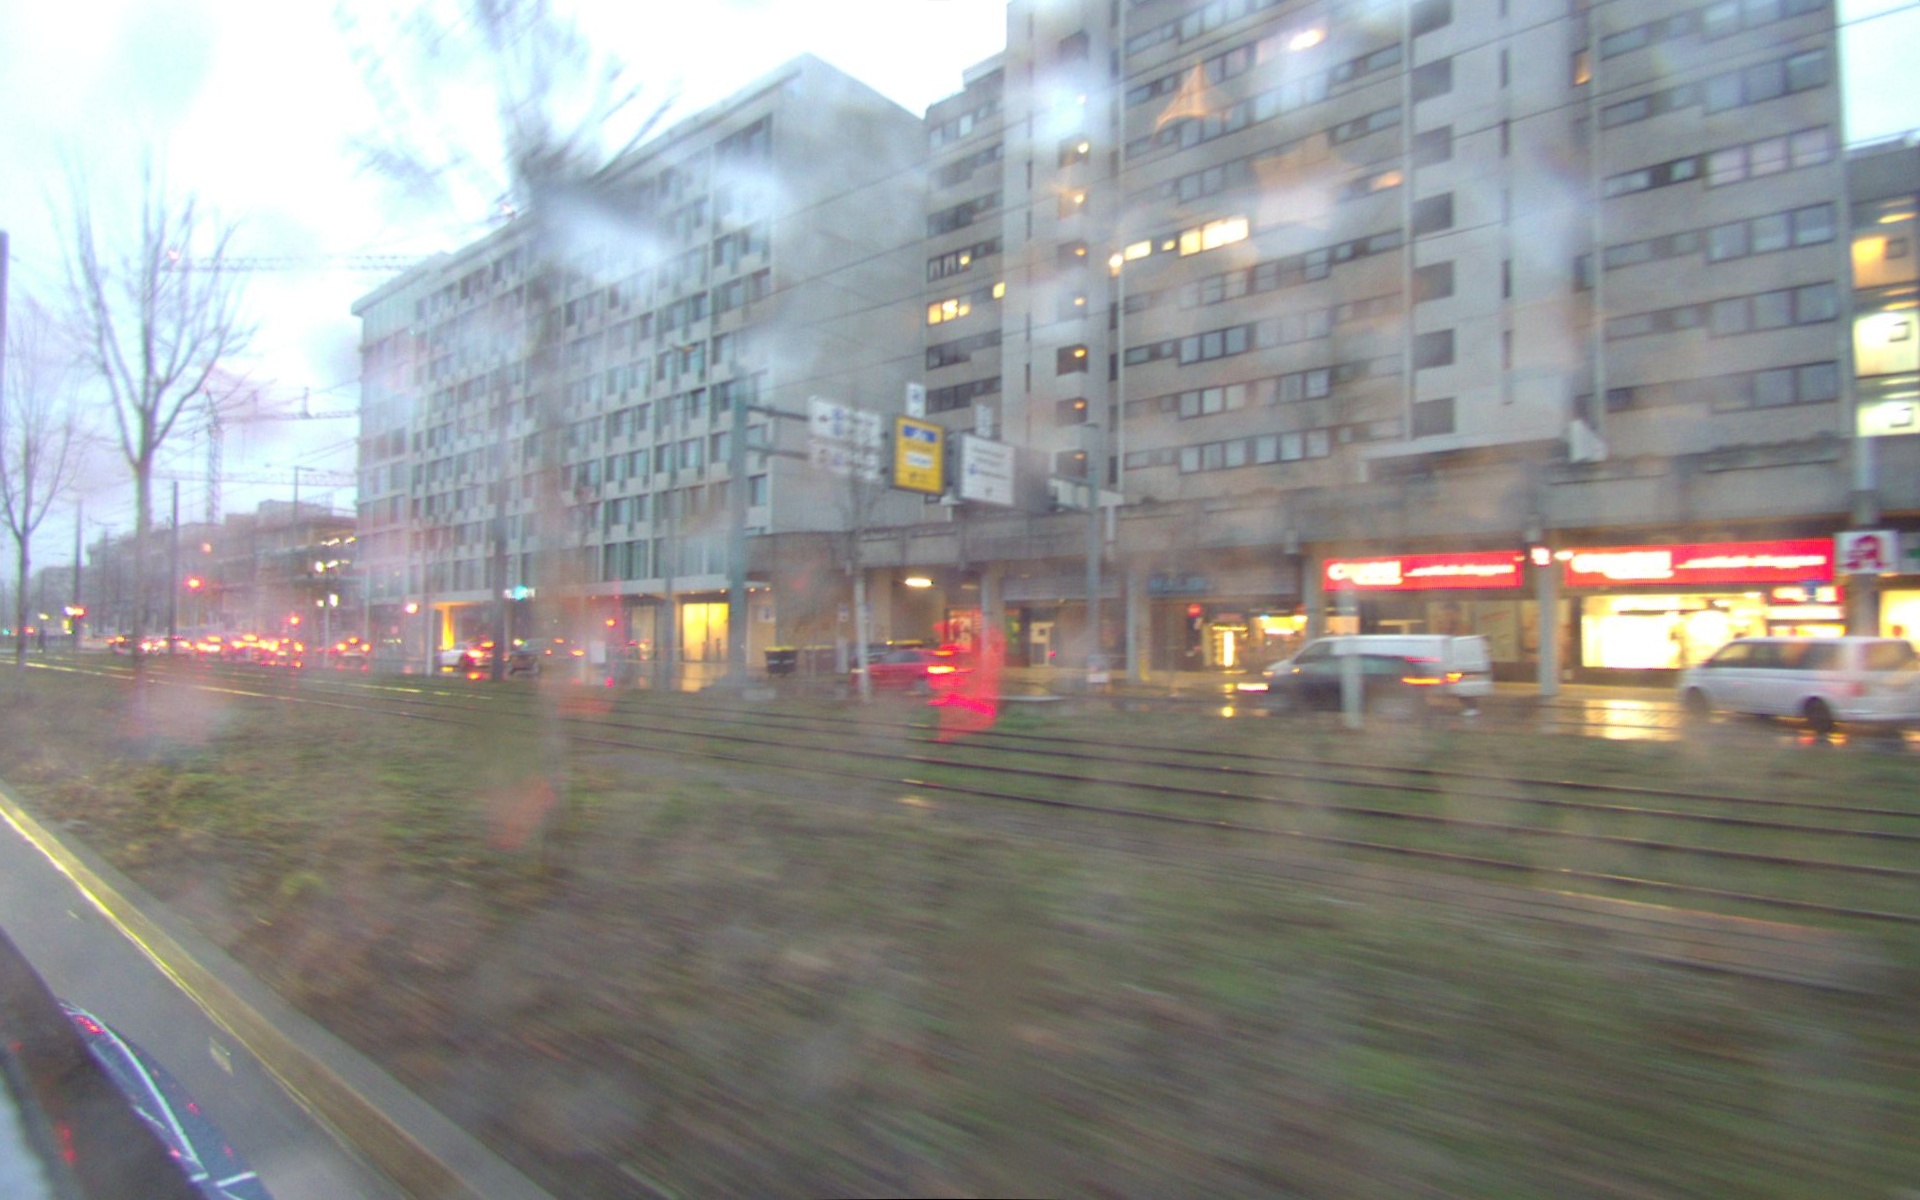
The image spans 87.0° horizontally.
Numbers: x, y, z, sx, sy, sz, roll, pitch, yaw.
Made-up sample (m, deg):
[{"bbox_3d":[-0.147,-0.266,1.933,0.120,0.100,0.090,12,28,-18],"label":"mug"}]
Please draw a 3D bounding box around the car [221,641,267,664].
[{"bbox_3d":[-47.786,3.481,67.519,3.870,1.460,1.575,-1,-3,40],"label":"car"}]

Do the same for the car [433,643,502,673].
[{"bbox_3d":[-25.166,2.933,51.702,3.870,1.460,1.732,-1,-3,40],"label":"car"}]

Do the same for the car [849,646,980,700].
[{"bbox_3d":[-1.436,2.183,30.988,3.887,1.523,1.732,-1,-3,40],"label":"car"}]

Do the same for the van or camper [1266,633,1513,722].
[{"bbox_3d":[11.175,1.950,26.687,5.651,2.113,1.973,-2,-3,41],"label":"van or camper"}]

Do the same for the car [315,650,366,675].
[{"bbox_3d":[-39.046,3.927,63.796,3.870,1.460,1.575,-1,-3,40],"label":"car"}]

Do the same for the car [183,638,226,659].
[{"bbox_3d":[-54.304,3.455,72.726,3.870,1.460,1.575,-1,-3,40],"label":"car"}]

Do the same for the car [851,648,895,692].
[{"bbox_3d":[-3.456,2.783,40.665,1.656,1.630,3.780,0,-2,-4],"label":"car"}]

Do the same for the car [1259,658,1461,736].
[{"bbox_3d":[8.659,2.042,22.061,3.764,1.460,1.656,-1,-3,40],"label":"car"}]

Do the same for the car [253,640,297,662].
[{"bbox_3d":[-48.743,3.610,72.027,3.870,1.460,1.575,-1,-3,40],"label":"car"}]

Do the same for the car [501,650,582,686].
[{"bbox_3d":[-18.522,2.974,44.748,3.870,1.460,1.732,-1,-3,40],"label":"car"}]

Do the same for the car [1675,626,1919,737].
[{"bbox_3d":[18.233,1.634,21.851,1.969,2.029,4.579,0,-1,-7],"label":"car"}]
